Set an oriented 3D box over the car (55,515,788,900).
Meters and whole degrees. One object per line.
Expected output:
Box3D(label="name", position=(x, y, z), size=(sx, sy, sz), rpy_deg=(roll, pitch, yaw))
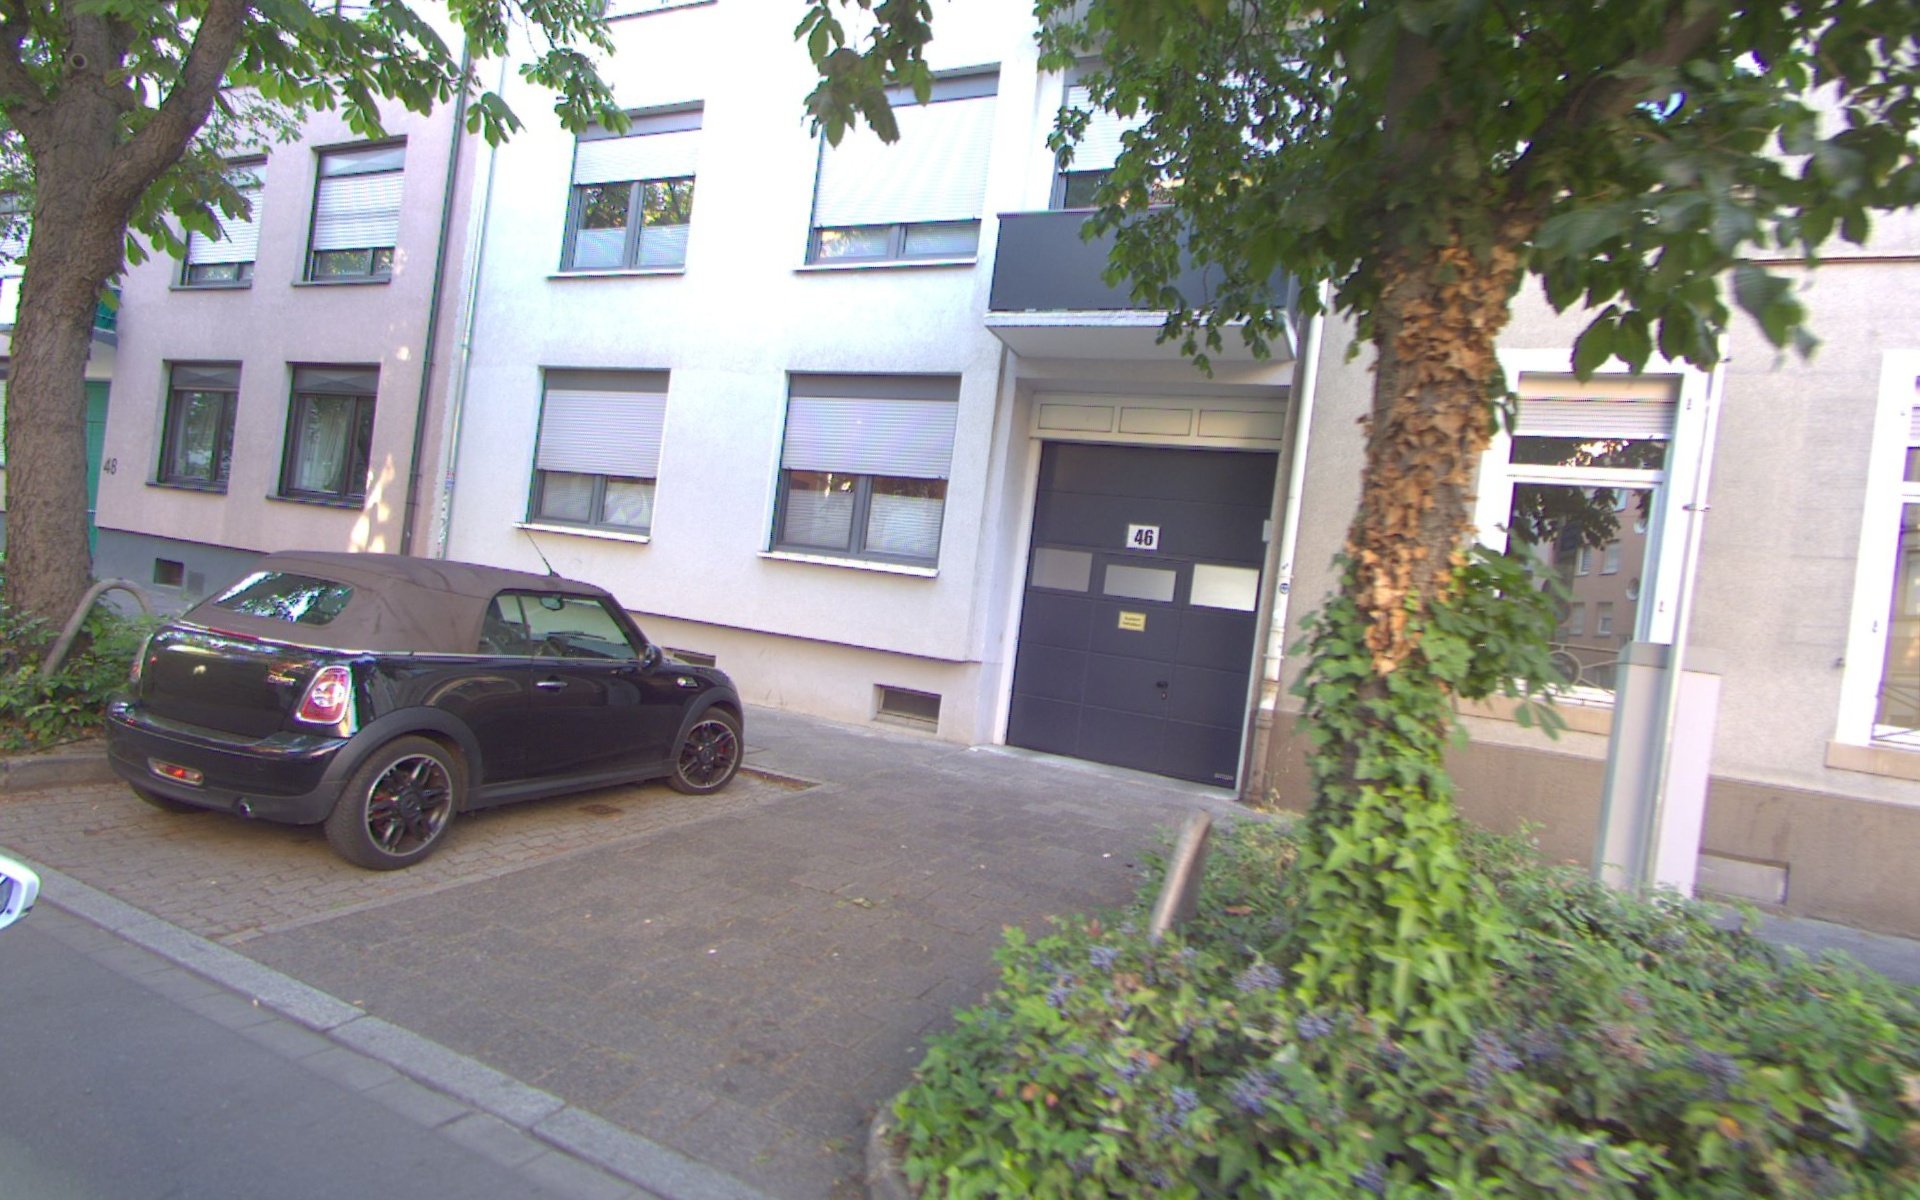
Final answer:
Box3D(label="car", position=(-2.753, 0.456, 6.112), size=(1.597, 1.446, 3.711), rpy_deg=(7, 2, 21))
